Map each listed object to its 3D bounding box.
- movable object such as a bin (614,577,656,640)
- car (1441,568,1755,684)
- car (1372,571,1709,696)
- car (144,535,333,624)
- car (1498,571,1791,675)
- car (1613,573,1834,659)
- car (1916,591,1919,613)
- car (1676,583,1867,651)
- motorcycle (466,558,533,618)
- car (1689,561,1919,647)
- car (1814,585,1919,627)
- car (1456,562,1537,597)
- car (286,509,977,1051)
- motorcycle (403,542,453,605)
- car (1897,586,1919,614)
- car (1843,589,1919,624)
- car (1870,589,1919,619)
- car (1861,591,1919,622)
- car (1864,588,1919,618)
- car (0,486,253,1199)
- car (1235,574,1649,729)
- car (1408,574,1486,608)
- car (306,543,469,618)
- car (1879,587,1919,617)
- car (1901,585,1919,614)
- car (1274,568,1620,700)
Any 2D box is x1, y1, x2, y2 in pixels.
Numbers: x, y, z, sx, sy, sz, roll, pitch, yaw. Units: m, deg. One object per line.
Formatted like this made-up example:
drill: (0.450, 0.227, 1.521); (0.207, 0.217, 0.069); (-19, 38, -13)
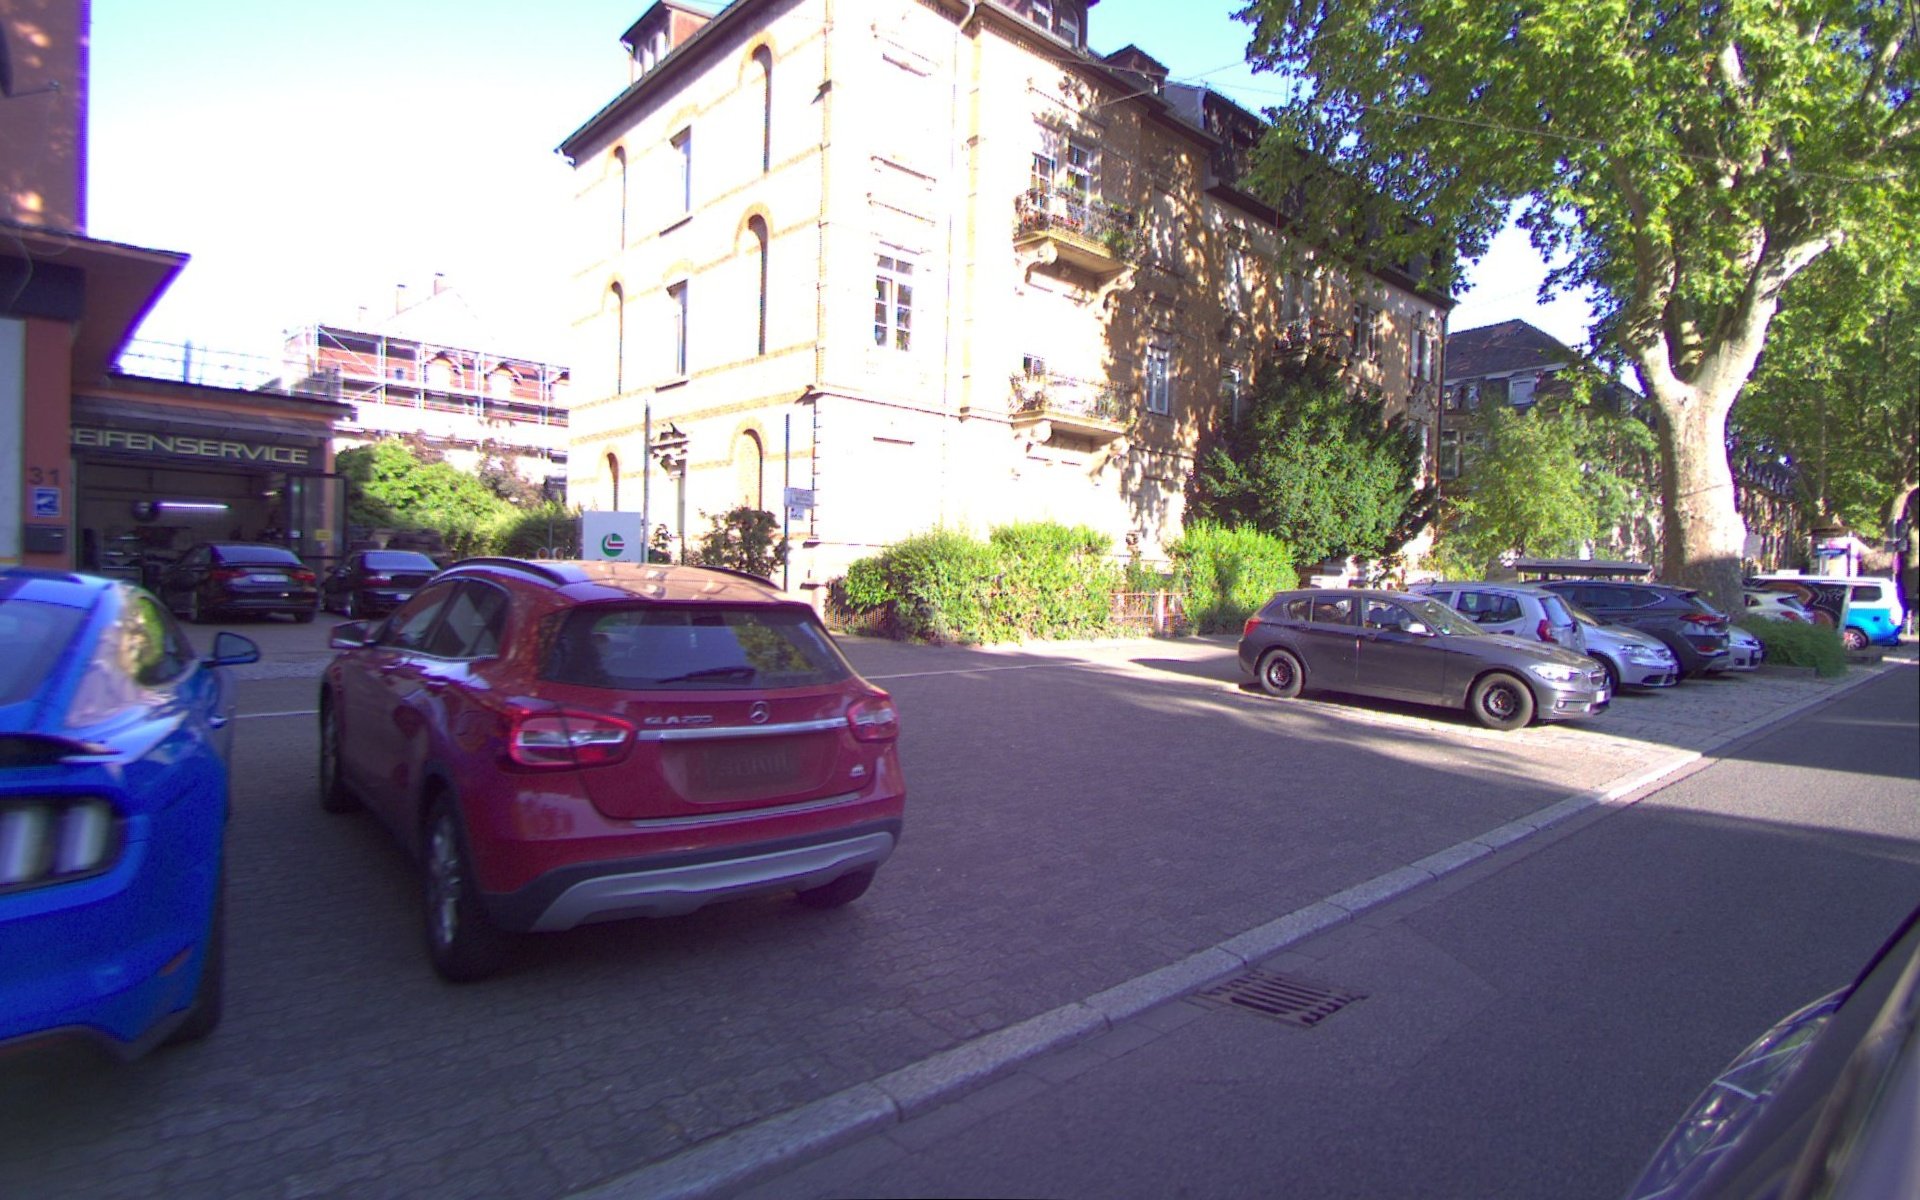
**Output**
movable object such as a bin: (-5.170, 0.120, 16.095); (0.438, 0.951, 0.659); (-1, 3, -37)
car: (10.774, 0.345, 17.296); (1.848, 1.638, 4.204); (0, 2, -44)
car: (8.947, 0.410, 15.903); (1.785, 1.593, 4.210); (0, 2, -39)
car: (-13.062, -0.422, 18.236); (3.984, 1.407, 1.914); (3, 3, 41)
car: (12.734, 0.331, 19.061); (1.785, 1.638, 4.210); (0, 2, -39)
car: (17.576, 0.305, 23.416); (1.761, 1.638, 3.787); (0, 4, -44)
car: (73.733, 0.286, 74.536); (1.858, 1.661, 4.613); (1, 2, -39)
car: (21.911, 0.400, 27.414); (1.761, 1.506, 3.787); (0, 4, -44)
motorcycle: (-9.347, -0.266, 20.500); (0.792, 1.116, 2.386); (1, 2, -35)
car: (24.098, 0.035, 28.980); (2.159, 2.038, 4.851); (0, 4, -45)
car: (41.128, 0.273, 44.797); (1.860, 1.651, 4.808); (1, 2, -42)
car: (26.115, -0.997, 49.221); (3.922, 1.602, 1.732); (1, 2, -33)
car: (-2.079, 0.423, 5.232); (1.917, 1.562, 4.414); (0, 2, -39)
motorcycle: (-13.197, -0.683, 25.058); (0.792, 1.500, 2.386); (1, 2, -35)
car: (65.159, 0.114, 66.814); (1.858, 1.813, 4.613); (1, 2, -39)
car: (46.453, 0.367, 49.513); (1.858, 1.512, 4.613); (1, 2, -39)
car: (52.604, 0.302, 54.834); (1.858, 1.512, 4.613); (1, 2, -39)
car: (50.925, 0.424, 53.512); (1.858, 1.512, 4.613); (1, 2, -39)
car: (54.379, 0.239, 57.227); (1.858, 1.585, 4.613); (1, 2, -39)
car: (-3.609, 0.451, 3.573); (1.783, 1.562, 4.419); (1, 2, -35)
car: (5.706, 0.480, 12.401); (1.786, 1.465, 4.207); (0, 2, -42)
car: (24.740, -0.436, 51.381); (3.922, 1.602, 1.732); (1, 2, -33)
car: (-11.752, -0.439, 20.673); (1.911, 1.343, 3.990); (0, 3, -45)
car: (56.142, 0.209, 58.194); (1.858, 1.661, 4.613); (1, 2, -39)
car: (69.497, 0.069, 71.141); (1.858, 2.038, 4.638); (1, 2, -39)
car: (6.976, 0.375, 14.877); (1.785, 1.575, 4.210); (0, 2, -39)
